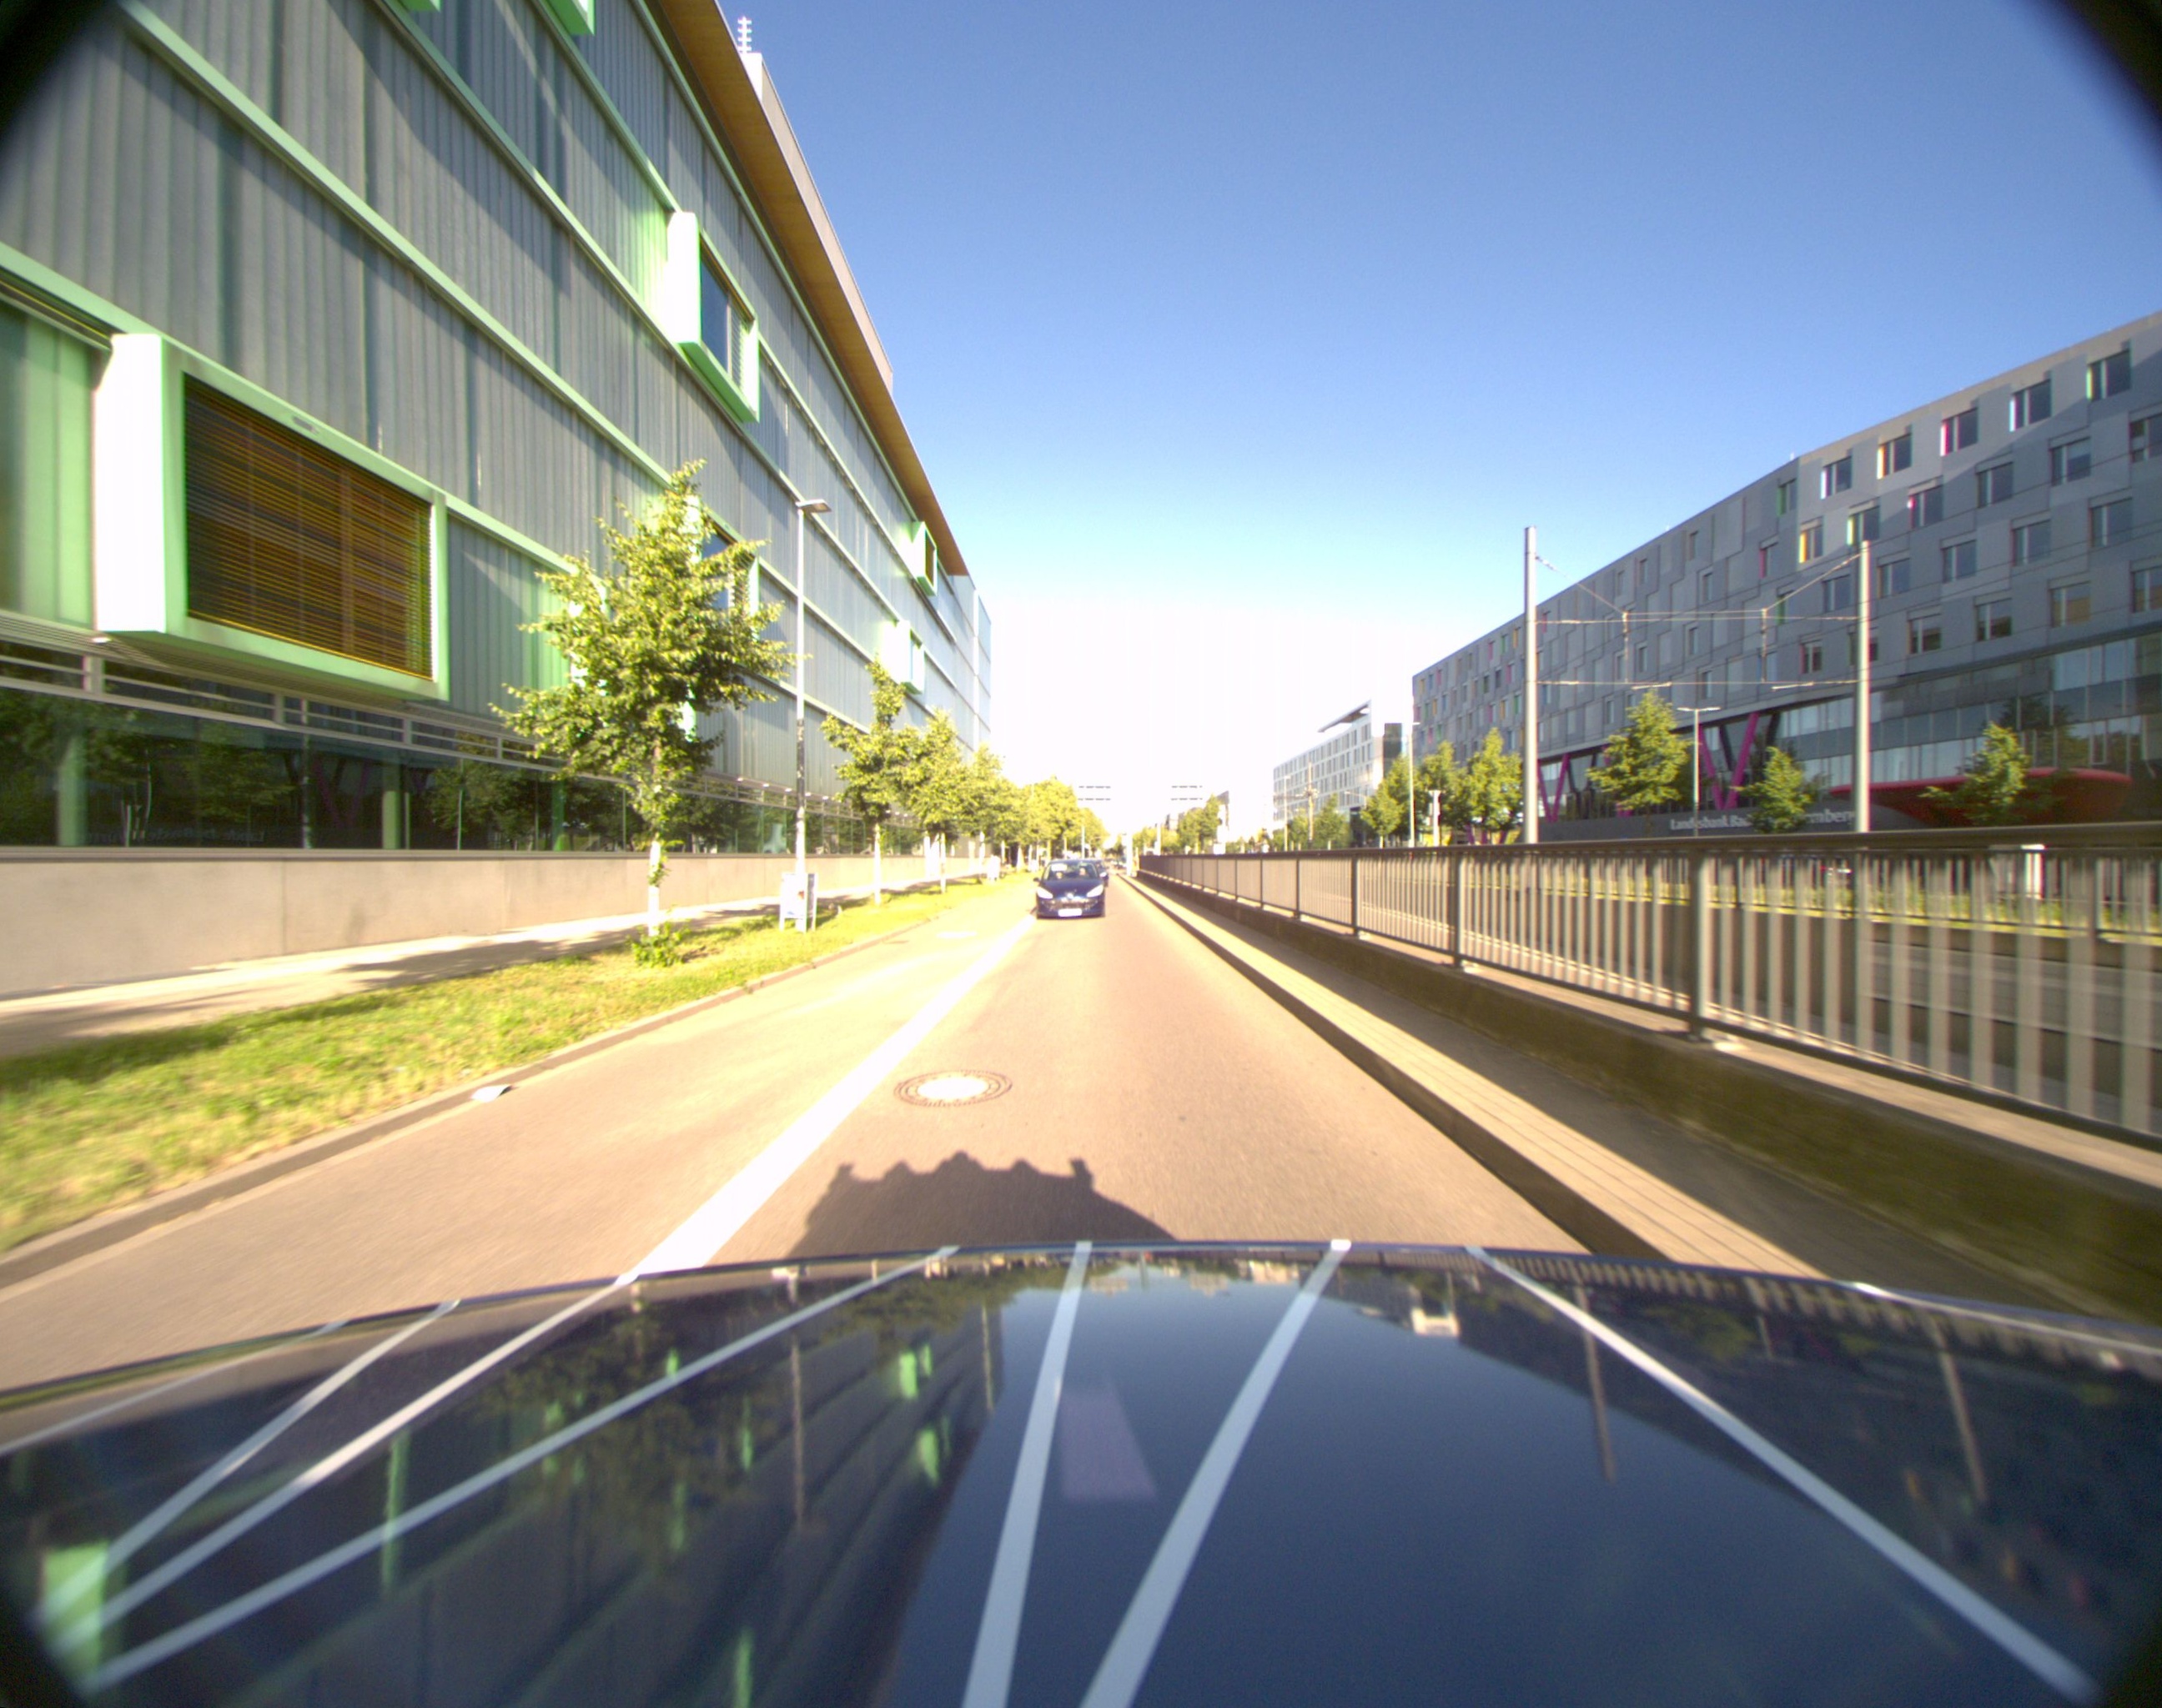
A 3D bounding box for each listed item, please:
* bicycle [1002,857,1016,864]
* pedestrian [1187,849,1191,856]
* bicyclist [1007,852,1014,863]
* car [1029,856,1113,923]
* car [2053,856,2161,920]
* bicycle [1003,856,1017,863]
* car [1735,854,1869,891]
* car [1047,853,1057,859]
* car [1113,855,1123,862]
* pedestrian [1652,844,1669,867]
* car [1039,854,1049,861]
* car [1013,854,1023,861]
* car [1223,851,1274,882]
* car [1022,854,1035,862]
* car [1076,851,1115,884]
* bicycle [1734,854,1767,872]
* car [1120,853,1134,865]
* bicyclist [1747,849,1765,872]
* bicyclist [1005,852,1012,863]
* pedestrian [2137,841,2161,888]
[{"bbox_3d":[-11.179,1.014,117.313,2.099,1.196,0.552,0,0,16],"label":"bicycle"},{"bbox_3d":[25.664,-0.327,180.470,1.068,1.458,0.844,-1,0,6],"label":"pedestrian"},{"bbox_3d":[-10.968,0.488,118.200,0.875,1.727,0.833,0,0,13],"label":"bicyclist"},{"bbox_3d":[-0.149,0.865,20.572,1.802,1.518,4.606,-2,0,5],"label":"car"},{"bbox_3d":[32.135,0.995,22.333,1.998,1.828,4.000,1,0,1],"label":"car"},{"bbox_3d":[-11.035,0.847,118.243,2.100,1.196,0.552,0,0,13],"label":"bicycle"},{"bbox_3d":[32.835,0.795,34.841,1.802,1.518,4.719,-2,0,3],"label":"car"},{"bbox_3d":[-6.921,0.508,179.544,1.942,1.372,3.914,-1,0,3],"label":"car"},{"bbox_3d":[8.599,1.062,176.872,1.998,1.543,4.000,-3,0,2],"label":"car"},{"bbox_3d":[46.025,0.115,60.386,0.722,1.811,0.871,0,0,2],"label":"pedestrian"},{"bbox_3d":[-8.192,0.752,169.791,1.898,1.477,4.050,-1,0,2],"label":"car"},{"bbox_3d":[-15.409,0.851,185.353,1.998,1.520,4.654,1,0,1],"label":"car"},{"bbox_3d":[9.008,0.624,41.160,1.803,1.518,4.343,-2,0,1],"label":"car"},{"bbox_3d":[-10.103,0.815,146.229,1.898,1.457,4.038,-1,0,4],"label":"car"},{"bbox_3d":[0.829,0.666,39.974,1.802,1.518,4.606,-2,0,3],"label":"car"},{"bbox_3d":[45.412,0.601,51.574,0.521,1.166,1.975,0,0,2],"label":"bicycle"},{"bbox_3d":[5.731,0.587,95.504,1.675,1.418,4.006,-2,0,2],"label":"car"},{"bbox_3d":[45.801,0.435,51.559,0.560,1.487,0.763,0,1,1],"label":"bicyclist"},{"bbox_3d":[-11.157,0.539,117.288,0.875,1.644,0.794,0,0,15],"label":"bicyclist"},{"bbox_3d":[46.174,0.432,32.585,0.738,2.002,0.689,0,1,2],"label":"pedestrian"}]
